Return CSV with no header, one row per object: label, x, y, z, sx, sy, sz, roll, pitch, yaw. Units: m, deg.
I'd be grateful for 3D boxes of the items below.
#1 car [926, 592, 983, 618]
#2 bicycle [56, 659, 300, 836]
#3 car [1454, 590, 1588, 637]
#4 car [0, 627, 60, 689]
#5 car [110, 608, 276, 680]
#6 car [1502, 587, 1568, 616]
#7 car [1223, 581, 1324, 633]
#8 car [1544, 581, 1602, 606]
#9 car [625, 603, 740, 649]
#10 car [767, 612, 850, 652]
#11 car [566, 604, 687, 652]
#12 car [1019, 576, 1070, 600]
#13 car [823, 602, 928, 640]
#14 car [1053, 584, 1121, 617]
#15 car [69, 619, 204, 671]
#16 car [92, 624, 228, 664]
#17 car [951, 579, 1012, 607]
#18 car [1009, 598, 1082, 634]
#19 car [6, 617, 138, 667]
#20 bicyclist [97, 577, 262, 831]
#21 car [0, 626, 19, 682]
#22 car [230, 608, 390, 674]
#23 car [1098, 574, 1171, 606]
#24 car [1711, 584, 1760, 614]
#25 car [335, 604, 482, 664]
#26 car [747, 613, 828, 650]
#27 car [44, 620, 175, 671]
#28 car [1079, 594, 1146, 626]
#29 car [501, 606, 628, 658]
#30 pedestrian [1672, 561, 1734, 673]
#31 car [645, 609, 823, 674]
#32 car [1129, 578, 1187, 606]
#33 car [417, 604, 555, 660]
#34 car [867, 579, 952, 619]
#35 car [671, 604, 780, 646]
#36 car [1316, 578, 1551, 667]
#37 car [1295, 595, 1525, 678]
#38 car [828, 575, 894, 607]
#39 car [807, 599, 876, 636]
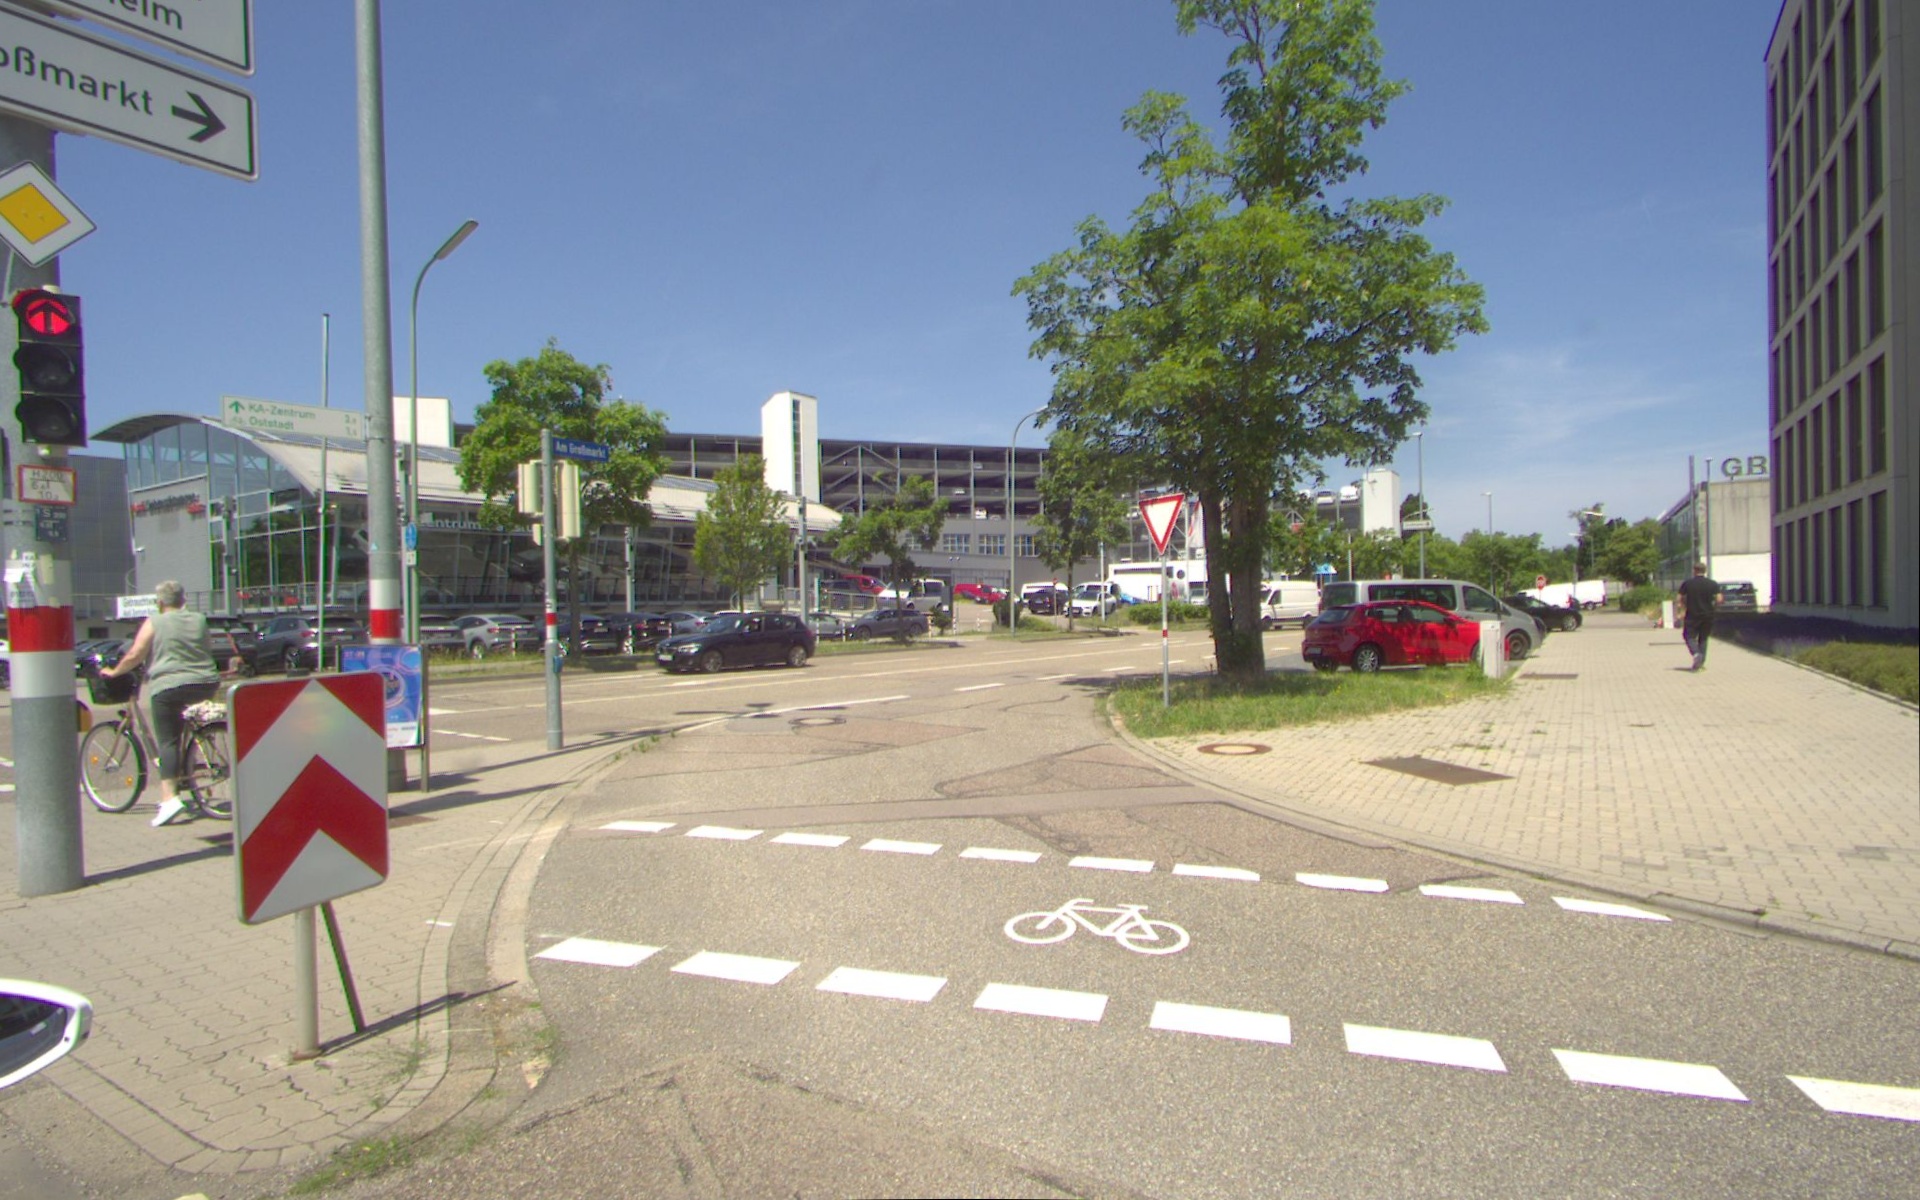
car,-0.424,0.383,74.322,3.943,1.810,1.730,-1,0,32
bicycle,-5.938,1.046,7.588,1.891,1.142,0.786,-1,0,29
car,21.568,0.546,38.598,4.075,1.558,1.815,-3,-1,2
car,-25.132,1.455,24.173,1.973,1.476,4.729,-1,0,34
car,-19.413,1.056,25.314,4.207,1.661,1.989,-1,0,32
car,41.667,0.117,72.544,3.949,2.040,1.986,-1,0,37
car,16.441,0.351,52.405,5.729,2.567,2.087,0,0,-36
car,55.200,-0.583,90.133,4.304,2.149,2.080,-1,0,36
car,-10.840,0.992,39.044,4.410,1.661,1.823,-1,1,32
car,-7.456,1.544,49.367,3.659,1.801,1.739,-1,0,-31
car,-12.231,1.006,36.660,4.410,1.661,1.824,-1,-1,32
car,7.806,-1.082,92.277,4.257,2.040,1.989,-1,0,32
car,-3.973,0.961,47.659,4.702,1.662,1.821,-1,1,-35
car,8.176,0.053,64.716,3.943,2.040,1.840,-1,0,32
car,-34.892,1.867,42.520,1.972,2.040,3.977,-1,0,33
car,-32.919,1.782,41.321,1.694,1.480,4.083,0,0,33
car,1.693,-0.556,77.881,4.286,2.040,1.990,-1,0,30
car,5.132,0.965,60.277,3.943,2.040,1.989,-1,0,32
car,-39.418,1.811,44.521,1.972,2.040,3.977,-1,0,33
bicyclist,-5.829,0.736,7.496,0.742,1.772,0.733,0,-1,28
car,-27.410,1.481,25.491,1.973,1.476,4.729,-2,-1,34
car,-17.923,1.070,27.558,4.492,1.661,1.989,-1,0,32
car,11.990,-0.687,68.909,4.578,2.040,1.989,-1,0,32
car,42.153,-0.065,54.486,1.765,1.542,3.556,-2,0,33
car,-16.609,0.990,30.098,4.377,1.661,1.989,-1,1,32
car,-8.868,1.594,51.491,3.712,1.795,1.761,-1,0,-28
car,-37.269,1.960,43.954,1.972,2.040,3.977,-1,0,33
car,10.184,0.686,66.974,3.943,2.040,1.989,-1,0,32
car,-13.608,1.051,34.402,4.410,1.661,1.823,-1,1,32
pedestrian,12.813,0.298,17.264,0.764,1.869,0.861,-2,0,40
car,-5.585,0.982,25.155,1.653,1.430,4.199,0,1,42
car,15.469,-0.613,78.307,3.945,2.040,1.988,-1,0,34
car,-15.209,0.988,32.063,4.460,1.661,1.881,-1,1,32
car,-2.651,-0.056,54.020,1.972,2.040,5.117,-1,0,32
car,-9.738,1.012,41.476,4.410,1.661,1.823,-1,1,32
car,10.925,0.502,23.211,4.814,1.839,1.704,-2,0,-10
car,8.935,0.704,20.028,3.924,1.454,1.609,-2,0,-8
car,-6.659,-0.588,67.291,3.937,2.040,1.992,-1,0,27
car,-6.876,1.022,58.349,1.839,2.040,3.732,-1,0,41
